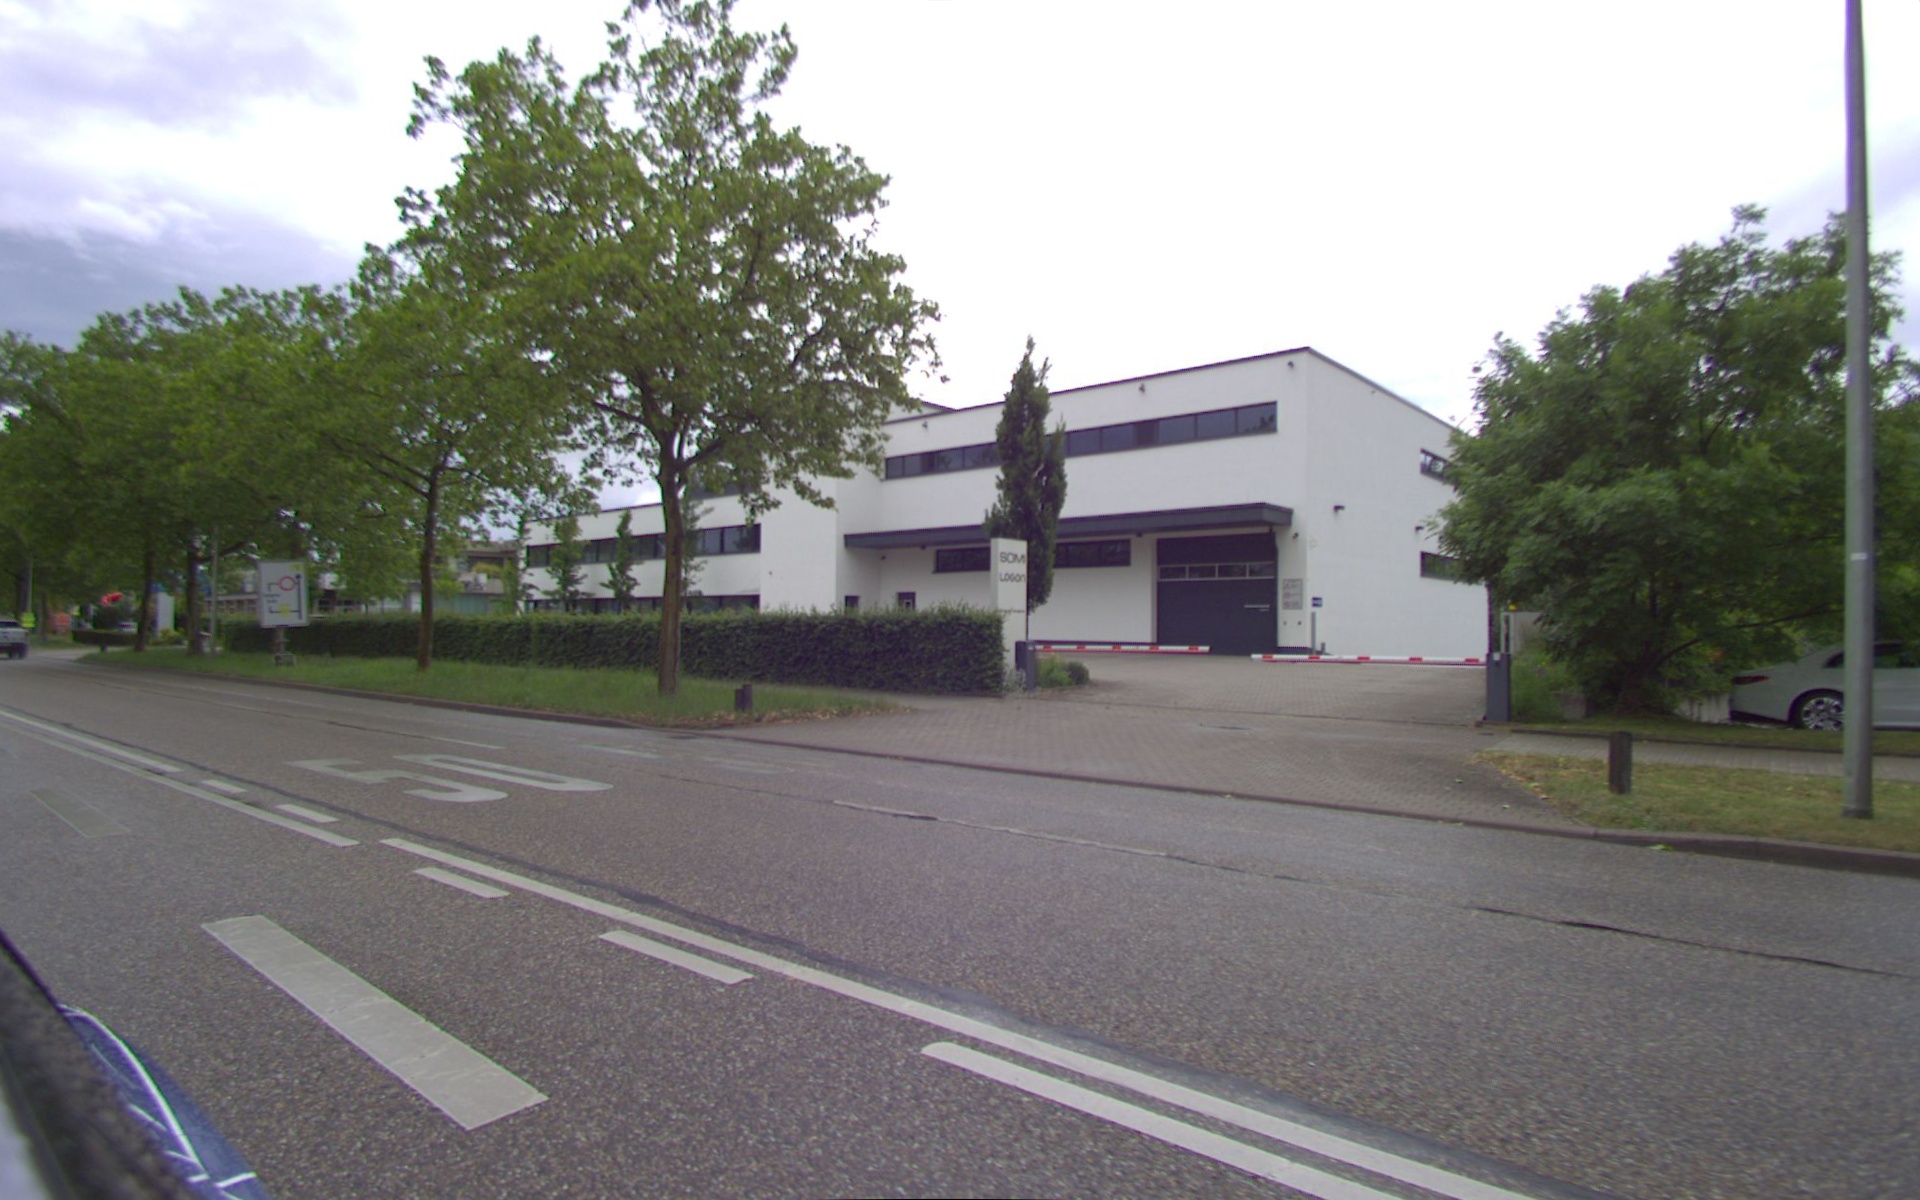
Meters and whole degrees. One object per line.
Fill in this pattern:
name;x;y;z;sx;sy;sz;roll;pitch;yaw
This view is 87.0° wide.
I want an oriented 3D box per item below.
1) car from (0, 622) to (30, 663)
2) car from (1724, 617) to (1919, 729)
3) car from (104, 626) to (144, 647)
car;-44.886;1.933;46.857;5.336;1.819;1.892;-1;-4;39
car;14.016;1.006;14.139;5.242;1.507;2.097;-1;-3;40
car;-64.583;2.806;78.182;3.999;1.545;1.723;-1;-4;42
